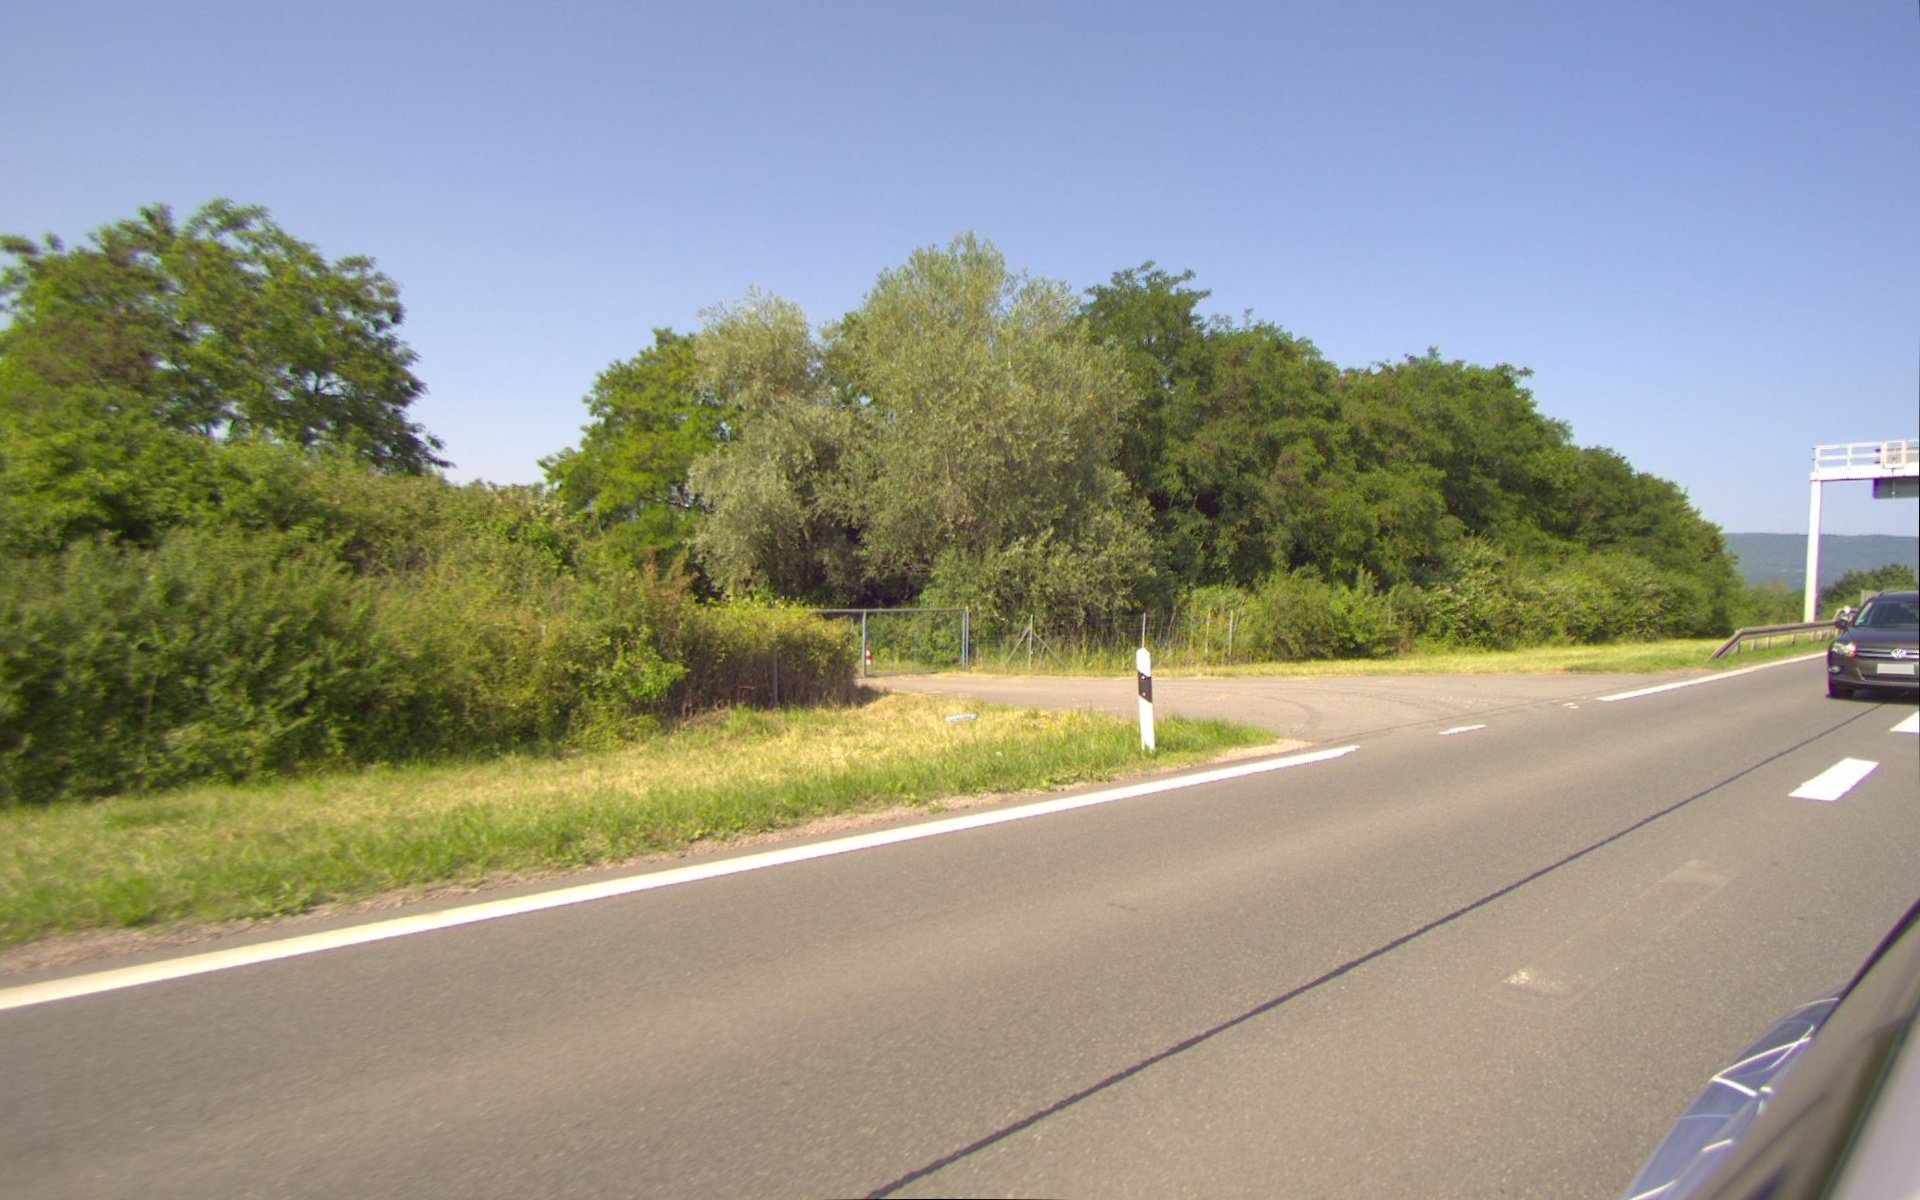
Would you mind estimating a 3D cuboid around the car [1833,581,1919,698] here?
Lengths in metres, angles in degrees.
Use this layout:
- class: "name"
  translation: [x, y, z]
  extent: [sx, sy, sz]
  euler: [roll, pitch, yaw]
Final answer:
- class: "car"
  translation: [15.134, 0.584, 15.662]
  extent: [4.073, 1.667, 1.789]
  euler: [1, 0, -39]
